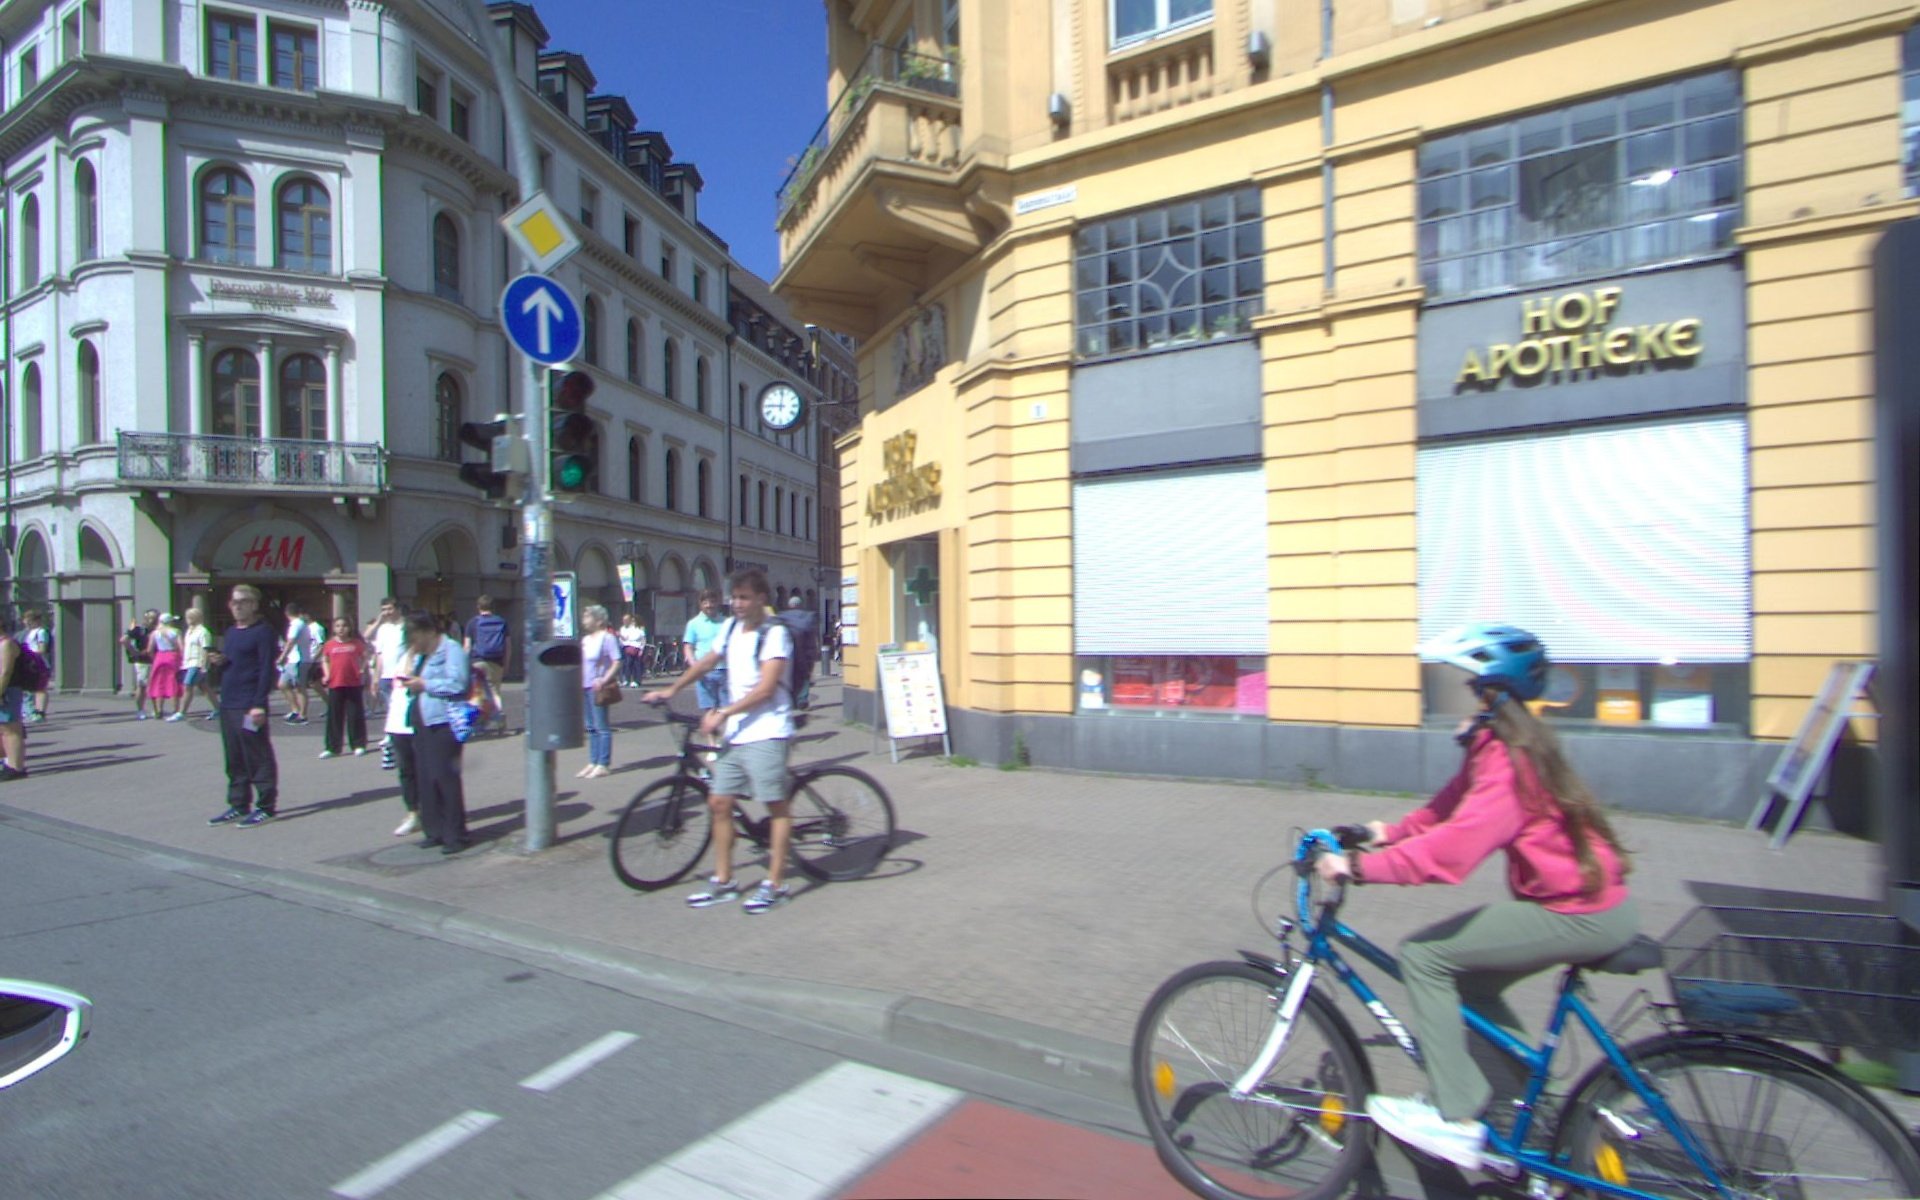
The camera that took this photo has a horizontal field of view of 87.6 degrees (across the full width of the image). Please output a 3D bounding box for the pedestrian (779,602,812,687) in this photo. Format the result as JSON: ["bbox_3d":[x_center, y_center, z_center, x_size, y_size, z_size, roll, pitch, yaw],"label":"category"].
[{"bbox_3d":[-3.753,1.015,22.884,0.557,1.893,0.660,1,-1,6],"label":"pedestrian"}]

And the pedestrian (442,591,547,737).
[{"bbox_3d":[-6.067,0.837,13.042,1.216,1.812,0.656,-3,-2,32],"label":"pedestrian"}]

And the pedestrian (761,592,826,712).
[{"bbox_3d":[-2.665,0.833,16.065,0.771,1.847,0.808,-2,-2,9],"label":"pedestrian"}]

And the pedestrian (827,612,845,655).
[{"bbox_3d":[-5.442,1.477,44.097,0.615,1.893,0.659,-1,-1,10],"label":"pedestrian"}]

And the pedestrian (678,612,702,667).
[{"bbox_3d":[-9.352,1.359,34.712,0.557,1.893,0.660,1,-1,6],"label":"pedestrian"}]

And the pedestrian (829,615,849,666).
[{"bbox_3d":[-4.516,1.507,37.453,0.557,1.893,0.660,1,-1,6],"label":"pedestrian"}]

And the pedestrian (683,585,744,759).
[{"bbox_3d":[-2.658,0.759,10.849,0.578,1.825,0.550,-1,0,-12],"label":"pedestrian"}]

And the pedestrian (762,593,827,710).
[{"bbox_3d":[-2.678,0.820,16.197,0.783,1.847,0.618,-1,0,32],"label":"pedestrian"}]

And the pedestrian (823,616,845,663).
[{"bbox_3d":[-5.141,1.608,40.818,0.703,1.893,0.740,1,-1,6],"label":"pedestrian"}]

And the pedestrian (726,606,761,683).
[{"bbox_3d":[-5.388,1.102,24.945,0.668,1.893,0.660,1,-1,6],"label":"pedestrian"}]

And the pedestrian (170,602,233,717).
[{"bbox_3d":[-12.363,0.962,16.319,0.668,1.830,0.609,-1,-1,30],"label":"pedestrian"}]

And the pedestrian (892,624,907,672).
[{"bbox_3d":[-2.431,1.931,40.112,0.557,1.893,0.659,-1,-1,0],"label":"pedestrian"}]

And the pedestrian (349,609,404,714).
[{"bbox_3d":[-9.893,1.034,16.980,0.667,1.738,0.540,-1,-1,28],"label":"pedestrian"}]

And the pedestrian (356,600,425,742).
[{"bbox_3d":[-7.093,0.868,12.472,0.528,1.725,0.521,-1,0,32],"label":"pedestrian"}]

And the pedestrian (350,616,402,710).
[{"bbox_3d":[-10.499,1.124,18.004,0.668,1.654,0.539,-1,-1,30],"label":"pedestrian"}]

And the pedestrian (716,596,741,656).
[{"bbox_3d":[-7.479,0.839,32.339,0.557,1.893,0.660,1,-1,6],"label":"pedestrian"}]

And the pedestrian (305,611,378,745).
[{"bbox_3d":[-7.766,0.957,12.576,0.632,1.630,0.521,-1,0,32],"label":"pedestrian"}]

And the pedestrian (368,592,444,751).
[{"bbox_3d":[-6.646,0.835,12.014,0.632,1.847,0.521,-1,0,32],"label":"pedestrian"}]

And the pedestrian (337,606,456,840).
[{"bbox_3d":[-4.202,0.879,7.471,0.581,1.652,0.547,-1,0,35],"label":"pedestrian"}]

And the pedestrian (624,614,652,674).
[{"bbox_3d":[-9.698,1.326,30.177,0.557,1.758,0.660,1,-1,6],"label":"pedestrian"}]

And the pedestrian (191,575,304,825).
[{"bbox_3d":[-5.755,0.775,8.092,0.633,1.923,0.521,-1,0,35],"label":"pedestrian"}]

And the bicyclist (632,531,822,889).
[{"bbox_3d":[-1.242,0.568,5.478,0.840,1.821,0.575,-2,2,-3],"label":"bicyclist"}]

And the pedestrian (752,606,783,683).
[{"bbox_3d":[-4.780,1.104,24.893,0.557,1.893,0.660,1,-1,6],"label":"pedestrian"}]

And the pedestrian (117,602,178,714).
[{"bbox_3d":[-13.684,0.967,16.872,0.668,1.847,0.609,-1,-1,30],"label":"pedestrian"}]

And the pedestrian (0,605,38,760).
[{"bbox_3d":[-11.451,0.979,11.771,0.668,1.784,0.608,-1,3,30],"label":"pedestrian"}]

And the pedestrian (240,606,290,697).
[{"bbox_3d":[-14.088,1.037,20.289,0.668,1.786,0.609,-1,-1,30],"label":"pedestrian"}]

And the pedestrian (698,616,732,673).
[{"bbox_3d":[-7.212,1.304,29.480,0.745,1.638,0.660,1,-1,6],"label":"pedestrian"}]

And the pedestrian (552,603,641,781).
[{"bbox_3d":[-3.544,0.872,9.758,0.581,1.661,0.547,-1,0,35],"label":"pedestrian"}]

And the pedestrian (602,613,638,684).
[{"bbox_3d":[-8.443,1.202,24.857,0.664,1.738,0.542,1,-1,2],"label":"pedestrian"}]

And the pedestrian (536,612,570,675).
[{"bbox_3d":[-11.281,1.206,27.760,0.665,1.701,0.612,-1,-1,10],"label":"pedestrian"}]

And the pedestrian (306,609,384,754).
[{"bbox_3d":[-7.195,0.936,11.723,0.632,1.633,0.521,-1,0,32],"label":"pedestrian"}]

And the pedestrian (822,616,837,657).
[{"bbox_3d":[-6.148,1.712,47.230,0.557,1.893,0.659,-1,-1,6],"label":"pedestrian"}]

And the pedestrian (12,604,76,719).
[{"bbox_3d":[-15.055,0.998,16.465,0.668,1.830,0.609,-1,-1,30],"label":"pedestrian"}]

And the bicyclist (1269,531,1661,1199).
[{"bbox_3d":[1.168,0.571,2.344,0.710,1.375,0.599,-1,-1,31],"label":"bicyclist"}]

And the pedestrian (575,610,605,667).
[{"bbox_3d":[-10.738,1.118,29.066,0.557,1.621,0.660,1,-1,6],"label":"pedestrian"}]

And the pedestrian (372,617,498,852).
[{"bbox_3d":[-3.670,0.903,7.004,0.633,1.541,0.521,-1,0,35],"label":"pedestrian"}]

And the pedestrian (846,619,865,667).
[{"bbox_3d":[-3.919,1.599,37.592,0.557,1.774,0.660,1,-1,6],"label":"pedestrian"}]

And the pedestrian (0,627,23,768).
[{"bbox_3d":[-10.891,1.088,11.002,0.668,1.536,0.608,-1,3,30],"label":"pedestrian"}]

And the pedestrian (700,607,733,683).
[{"bbox_3d":[-6.180,1.145,25.441,0.664,1.893,0.542,1,-1,2],"label":"pedestrian"}]

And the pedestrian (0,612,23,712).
[{"bbox_3d":[-16.788,1.069,17.255,0.664,1.728,0.612,-1,0,4],"label":"pedestrian"}]

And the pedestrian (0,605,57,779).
[{"bbox_3d":[-10.270,0.973,10.706,0.668,1.793,0.670,-1,2,30],"label":"pedestrian"}]

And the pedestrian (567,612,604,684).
[{"bbox_3d":[-9.172,1.169,24.515,0.664,1.738,0.542,1,-1,2],"label":"pedestrian"}]

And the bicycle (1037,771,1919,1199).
[{"bbox_3d":[1.232,0.965,2.301,2.057,0.937,0.599,-2,-1,32],"label":"bicycle"}]

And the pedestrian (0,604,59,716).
[{"bbox_3d":[-15.675,0.997,16.830,0.668,1.830,0.609,-1,-1,30],"label":"pedestrian"}]

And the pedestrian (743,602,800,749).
[{"bbox_3d":[-2.123,0.829,11.238,0.578,1.590,0.550,-1,0,-12],"label":"pedestrian"}]

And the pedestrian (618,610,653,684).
[{"bbox_3d":[-8.015,1.167,24.754,0.664,1.793,0.542,1,-1,2],"label":"pedestrian"}]

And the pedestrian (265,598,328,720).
[{"bbox_3d":[-10.481,0.918,15.828,0.534,1.879,0.675,-1,-1,30],"label":"pedestrian"}]

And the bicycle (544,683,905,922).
[{"bbox_3d":[-1.227,1.073,5.494,1.804,1.097,0.602,-2,1,-3],"label":"bicycle"}]
